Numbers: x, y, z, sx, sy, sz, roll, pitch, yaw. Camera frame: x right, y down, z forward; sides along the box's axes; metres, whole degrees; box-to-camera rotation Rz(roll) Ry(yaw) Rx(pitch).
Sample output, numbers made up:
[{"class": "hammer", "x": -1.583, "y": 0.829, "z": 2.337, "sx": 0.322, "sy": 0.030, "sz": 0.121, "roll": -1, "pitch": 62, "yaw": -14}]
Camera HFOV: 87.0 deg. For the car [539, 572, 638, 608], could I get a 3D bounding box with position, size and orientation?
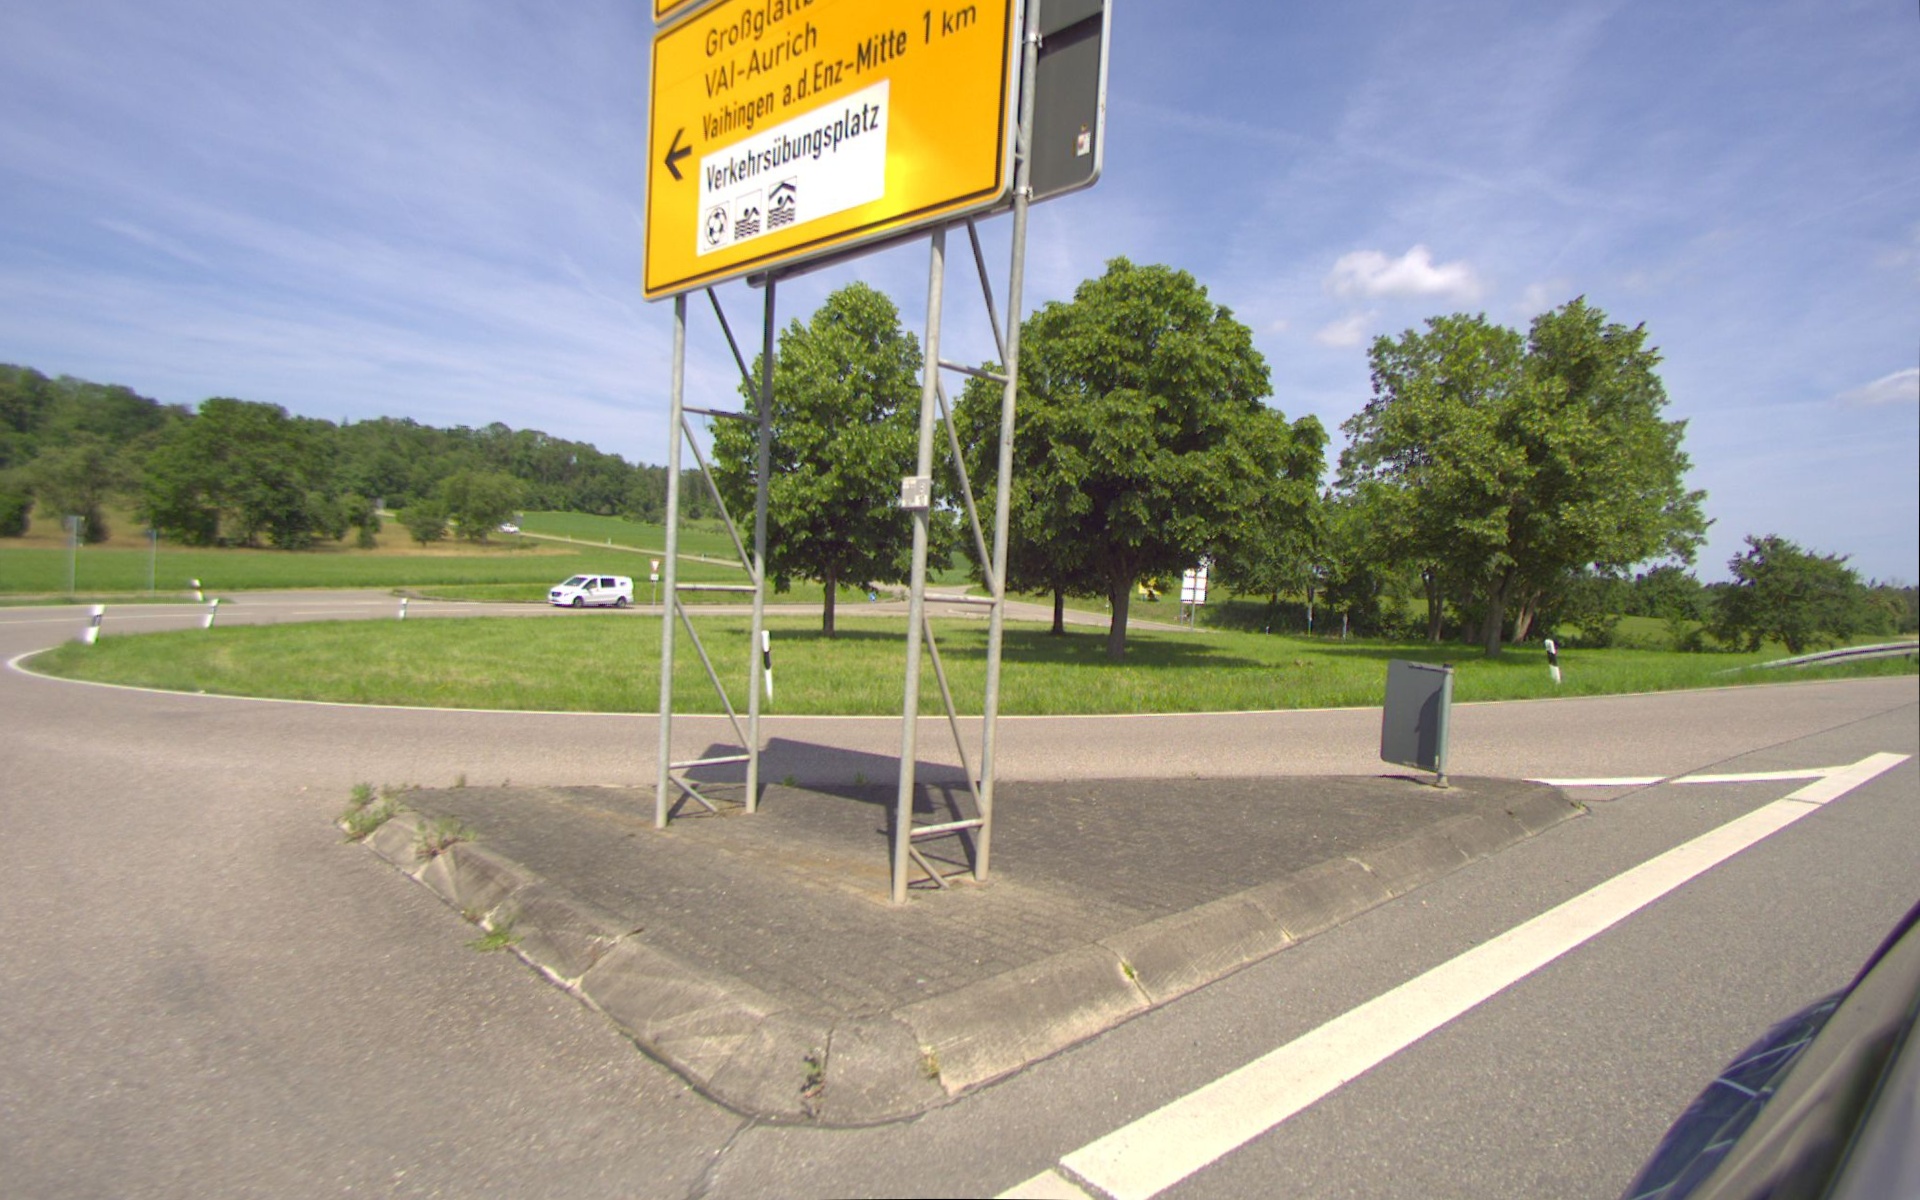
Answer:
[{"class": "car", "x": -21.700, "y": -0.582, "z": 59.396, "sx": 1.985, "sy": 1.869, "sz": 5.361, "roll": 5, "pitch": 2, "yaw": 31}]
